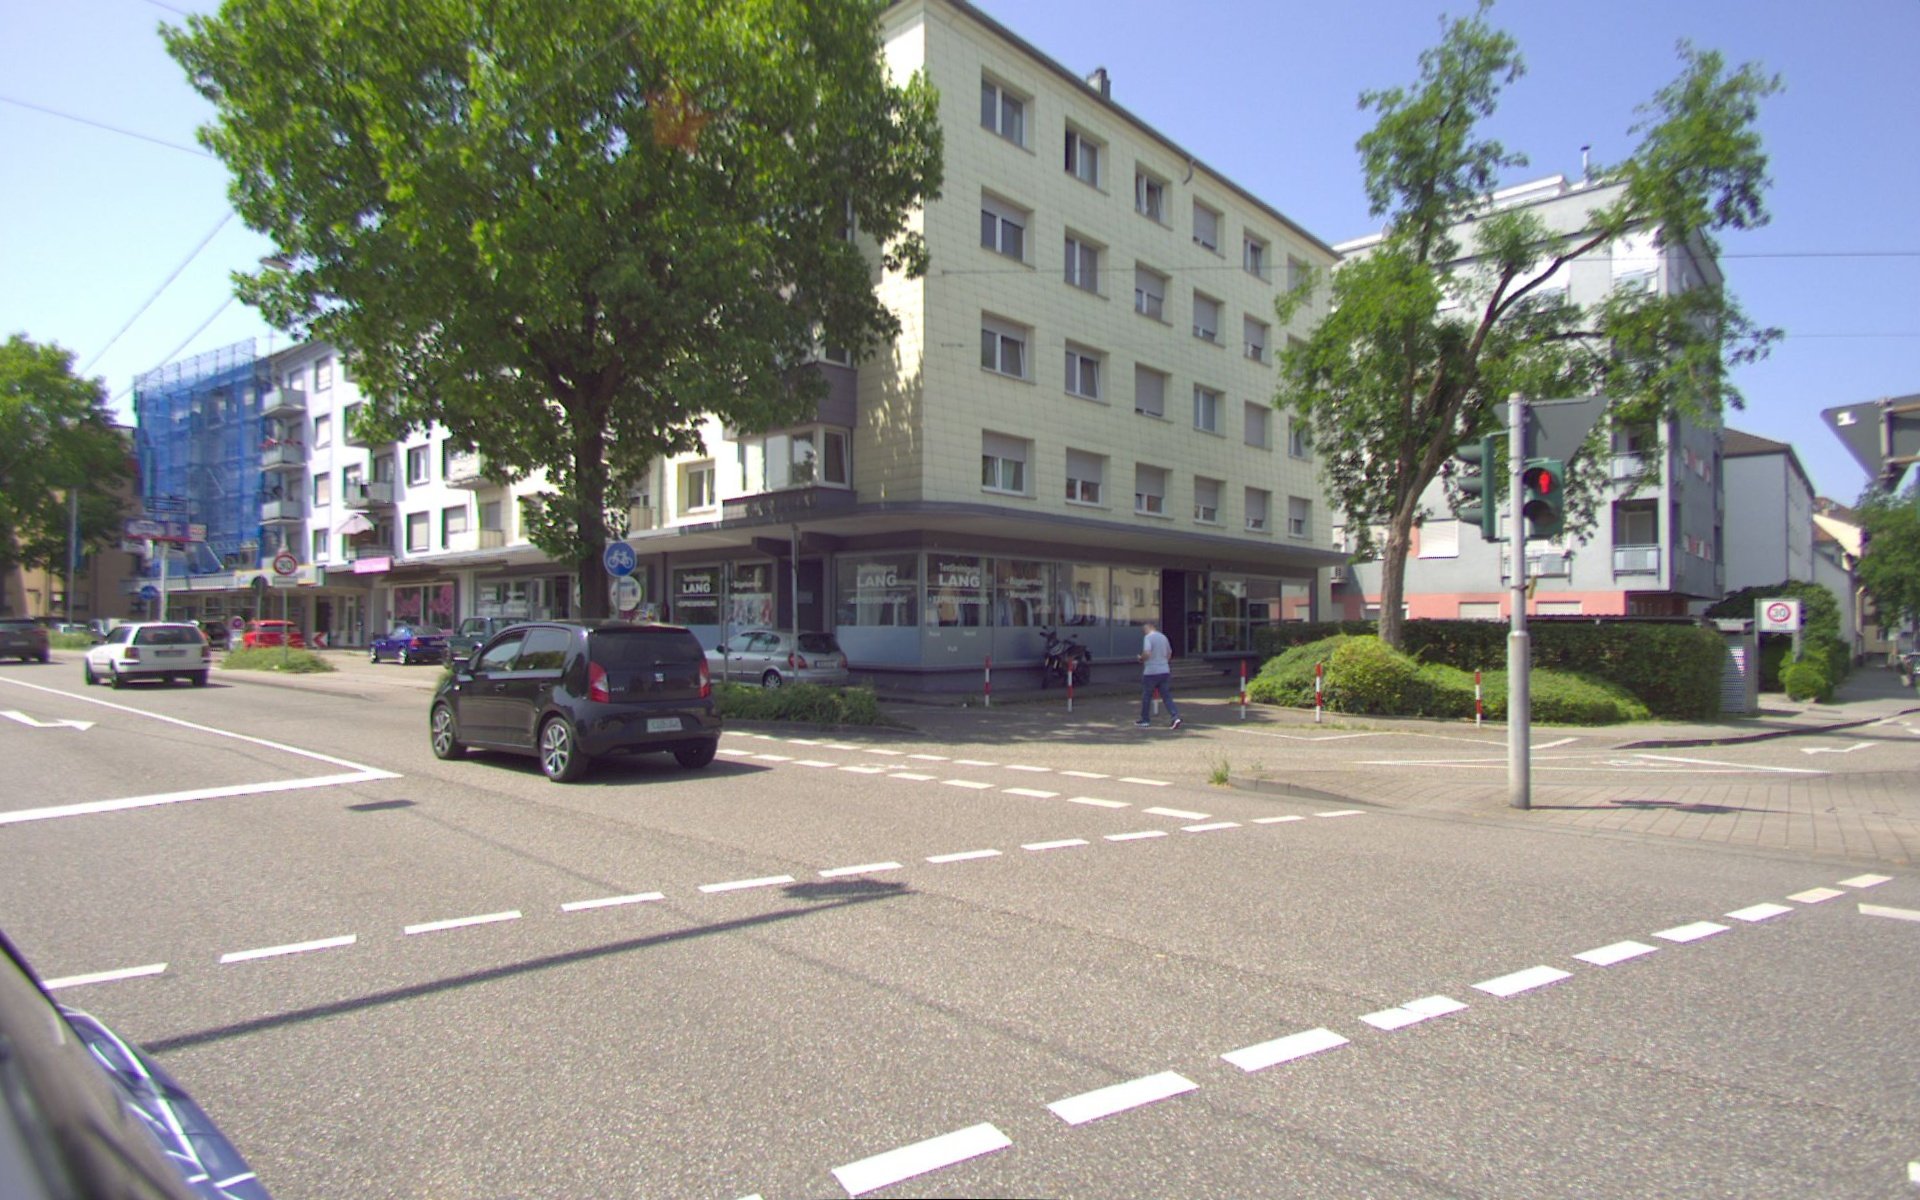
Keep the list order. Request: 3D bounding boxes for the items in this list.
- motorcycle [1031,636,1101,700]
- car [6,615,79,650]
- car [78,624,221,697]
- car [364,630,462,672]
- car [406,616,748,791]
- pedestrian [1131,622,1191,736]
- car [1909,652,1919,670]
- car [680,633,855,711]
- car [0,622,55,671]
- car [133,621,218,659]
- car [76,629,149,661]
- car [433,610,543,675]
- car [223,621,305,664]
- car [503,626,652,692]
[{"bbox_3d":[2.587,1.615,24.563,0.714,1.431,1.894,1,0,42],"label":"motorcycle"},{"bbox_3d":[-49.664,1.745,54.768,4.321,1.819,1.892,-1,-2,33],"label":"car"},{"bbox_3d":[-19.054,1.344,23.721,4.628,1.530,1.796,-1,-2,41],"label":"car"},{"bbox_3d":[-18.612,1.710,34.390,3.859,1.296,1.682,-1,-1,41],"label":"car"},{"bbox_3d":[-3.986,0.981,10.308,3.706,1.467,1.600,-2,-5,40],"label":"car"},{"bbox_3d":[3.231,1.247,16.249,0.742,1.773,0.620,-1,-2,41],"label":"pedestrian"},{"bbox_3d":[85.893,5.437,90.294,3.203,1.392,1.550,0,-1,-42],"label":"car"},{"bbox_3d":[-4.159,1.464,21.535,3.938,1.470,1.566,-1,-2,41],"label":"car"},{"bbox_3d":[-33.492,1.612,35.468,4.221,1.651,1.961,-2,-3,39],"label":"car"},{"bbox_3d":[-33.648,1.694,43.398,4.328,1.531,1.889,-1,-2,38],"label":"car"},{"bbox_3d":[-41.732,2.193,49.805,4.328,1.531,1.889,-1,-2,38],"label":"car"},{"bbox_3d":[-14.411,1.255,30.842,3.858,1.853,1.622,-2,-2,41],"label":"car"},{"bbox_3d":[-25.347,1.526,36.816,3.633,1.479,1.617,-1,-2,42],"label":"car"},{"bbox_3d":[-10.179,1.495,26.732,4.837,1.581,1.605,-1,-2,41],"label":"car"}]
